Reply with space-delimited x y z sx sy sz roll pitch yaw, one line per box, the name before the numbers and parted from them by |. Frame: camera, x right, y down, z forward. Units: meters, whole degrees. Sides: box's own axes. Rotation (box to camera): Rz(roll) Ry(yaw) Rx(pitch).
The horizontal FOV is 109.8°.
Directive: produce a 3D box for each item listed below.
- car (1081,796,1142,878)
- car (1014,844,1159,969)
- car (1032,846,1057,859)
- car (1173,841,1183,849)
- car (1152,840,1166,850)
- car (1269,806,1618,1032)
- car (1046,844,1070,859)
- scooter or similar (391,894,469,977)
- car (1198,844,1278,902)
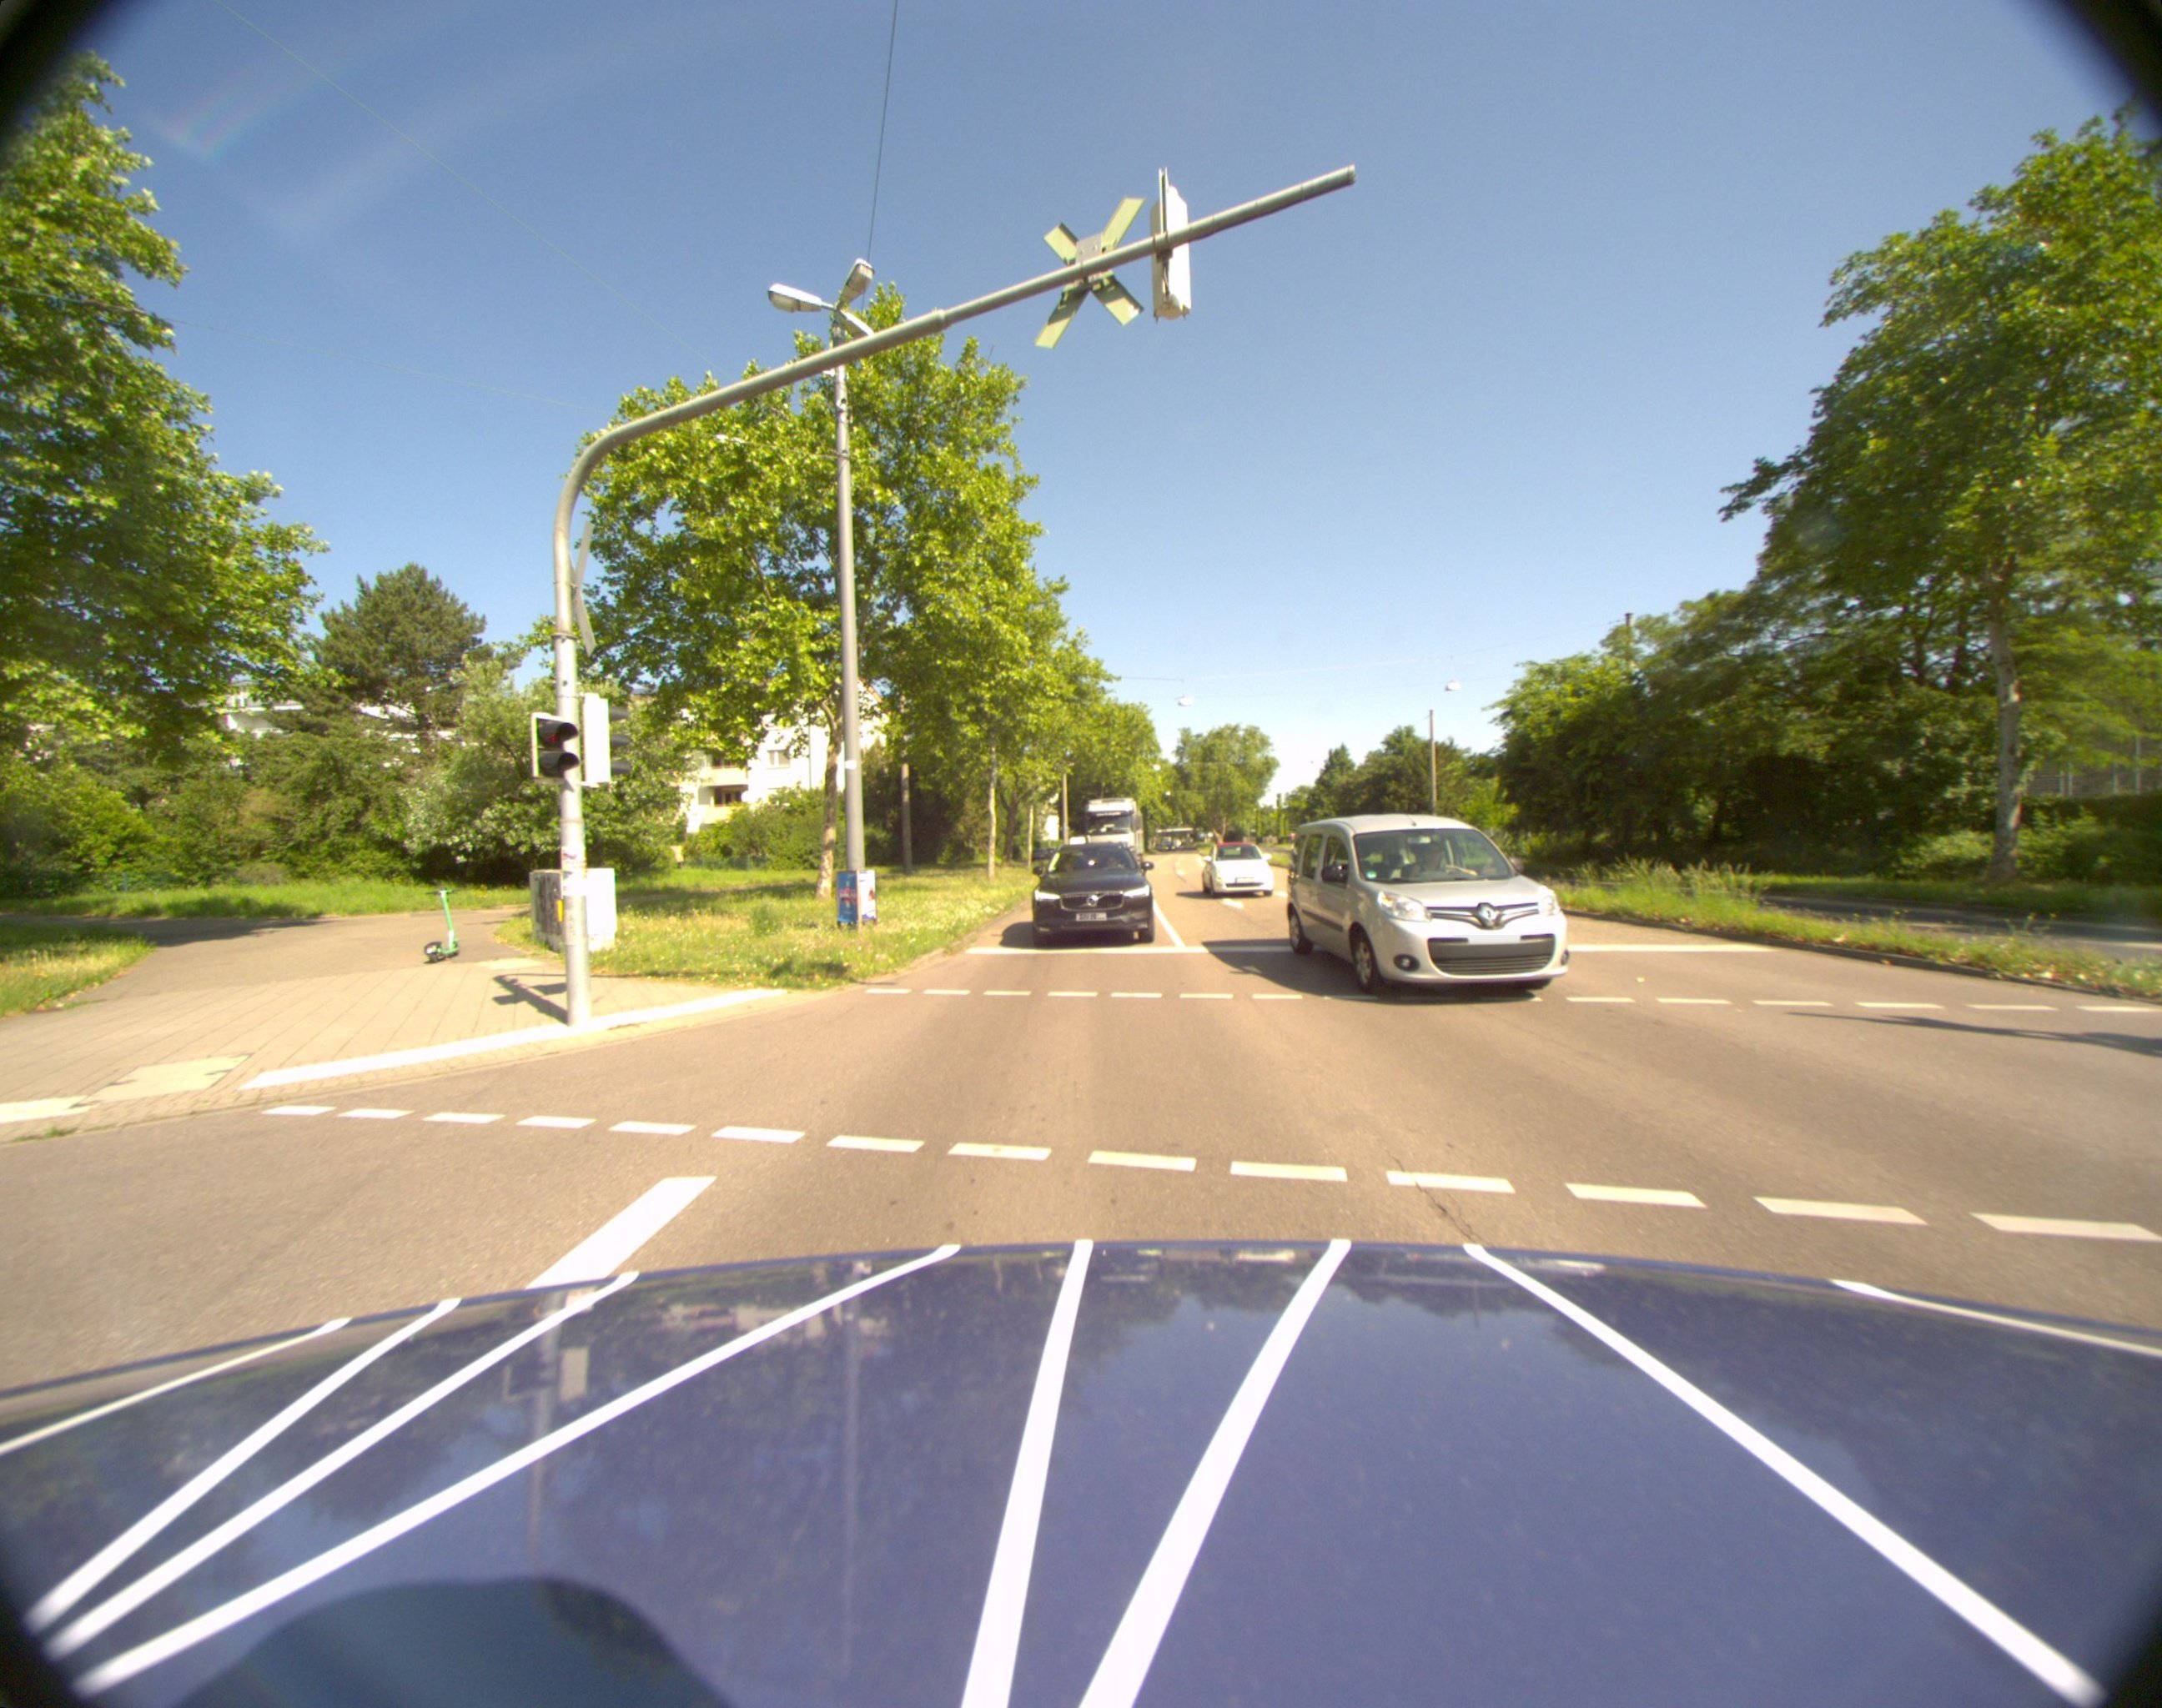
car | 1.687 -0.861 39.993 2.902 3.898 7.142 -1 1 4
car | 0.176 0.682 12.740 1.904 1.606 4.872 -2 1 2
car | -4.085 -0.214 85.858 1.504 1.364 4.094 -1 1 18
car | 25.275 -2.408 198.181 1.996 2.002 4.004 -1 1 15
car | 16.356 -1.836 159.394 1.996 2.002 4.005 -1 1 18
car | 3.571 0.516 8.541 1.877 1.829 4.375 -2 1 1
car | -2.750 -0.327 91.268 1.504 1.633 4.094 -1 1 18
scooter or similar | -10.523 1.279 12.328 0.518 1.135 1.443 -4 3 -25
car | 4.427 0.471 21.997 1.689 1.482 4.376 -1 1 4
